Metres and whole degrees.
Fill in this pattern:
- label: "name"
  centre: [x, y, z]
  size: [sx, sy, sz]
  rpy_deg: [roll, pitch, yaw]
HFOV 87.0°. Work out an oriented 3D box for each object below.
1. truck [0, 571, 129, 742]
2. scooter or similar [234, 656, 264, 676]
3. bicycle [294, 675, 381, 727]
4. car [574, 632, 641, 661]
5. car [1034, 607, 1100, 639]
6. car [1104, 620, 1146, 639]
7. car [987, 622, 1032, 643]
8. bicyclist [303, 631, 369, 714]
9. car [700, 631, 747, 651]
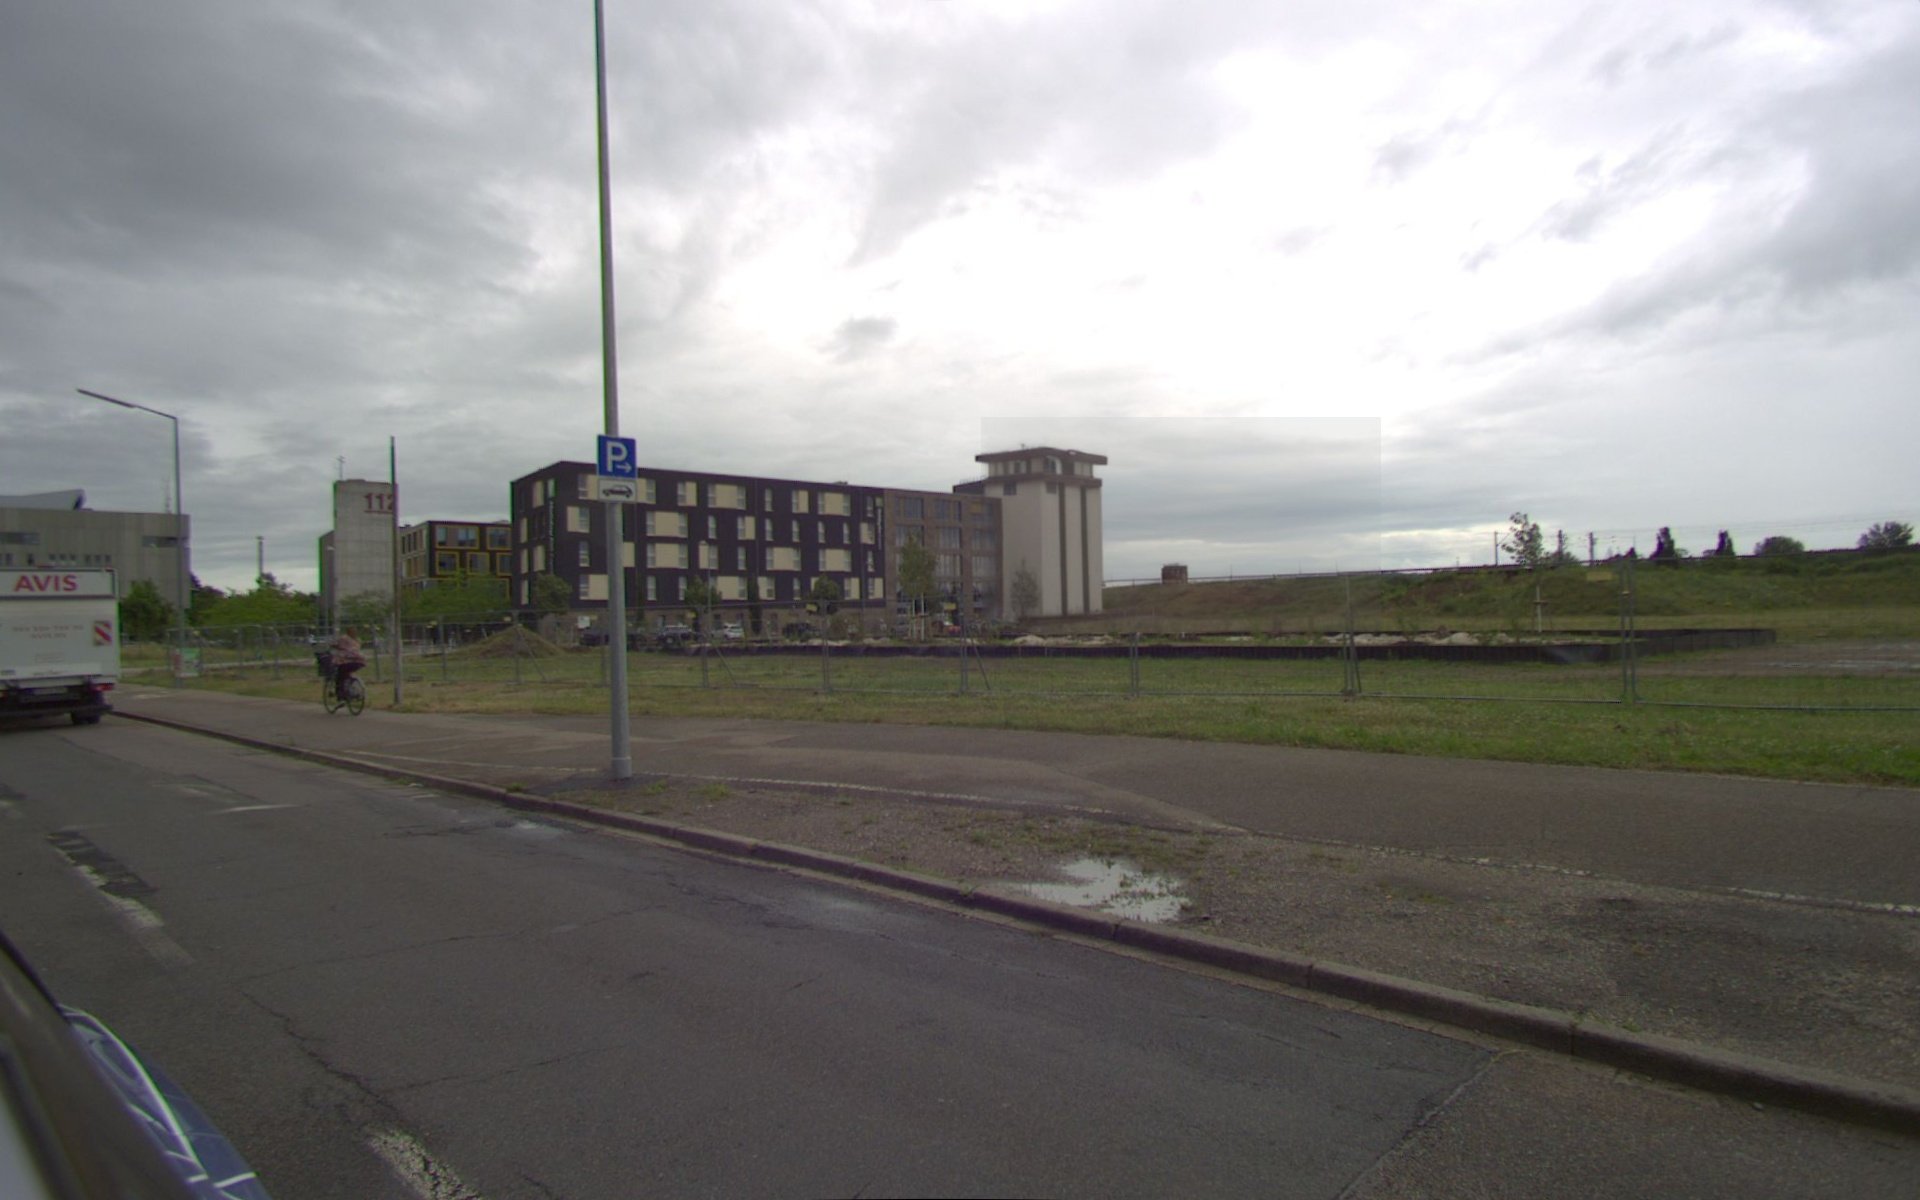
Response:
- label: "truck"
  centre: [-19.681, 1.198, 21.142]
  size: [7.493, 3.086, 2.316]
  rpy_deg: [-3, -5, 41]
- label: "scooter or similar"
  centre: [-46.008, 4.288, 65.493]
  size: [0.568, 1.177, 1.455]
  rpy_deg: [-2, -1, 24]
- label: "bicycle"
  centre: [-12.138, 1.950, 19.690]
  size: [2.231, 0.914, 0.795]
  rpy_deg: [-4, -3, 41]
- label: "car"
  centre: [-24.842, 3.256, 71.378]
  size: [3.936, 1.837, 2.003]
  rpy_deg: [-1, -2, -39]
- label: "car"
  centre: [10.827, 2.319, 101.962]
  size: [6.472, 2.979, 2.719]
  rpy_deg: [-1, -2, -40]
- label: "car"
  centre: [17.445, 3.080, 107.022]
  size: [4.455, 1.852, 2.003]
  rpy_deg: [0, -2, -41]
- label: "car"
  centre: [4.759, 3.117, 96.679]
  size: [3.937, 1.760, 2.003]
  rpy_deg: [-1, -2, -40]
- label: "bicyclist"
  centre: [-12.149, 1.404, 19.709]
  size: [1.093, 1.538, 0.774]
  rpy_deg: [-4, -3, 40]
- label: "car"
  centre: [-20.716, 3.597, 88.720]
  size: [4.153, 1.529, 1.972]
  rpy_deg: [-4, -3, 42]
